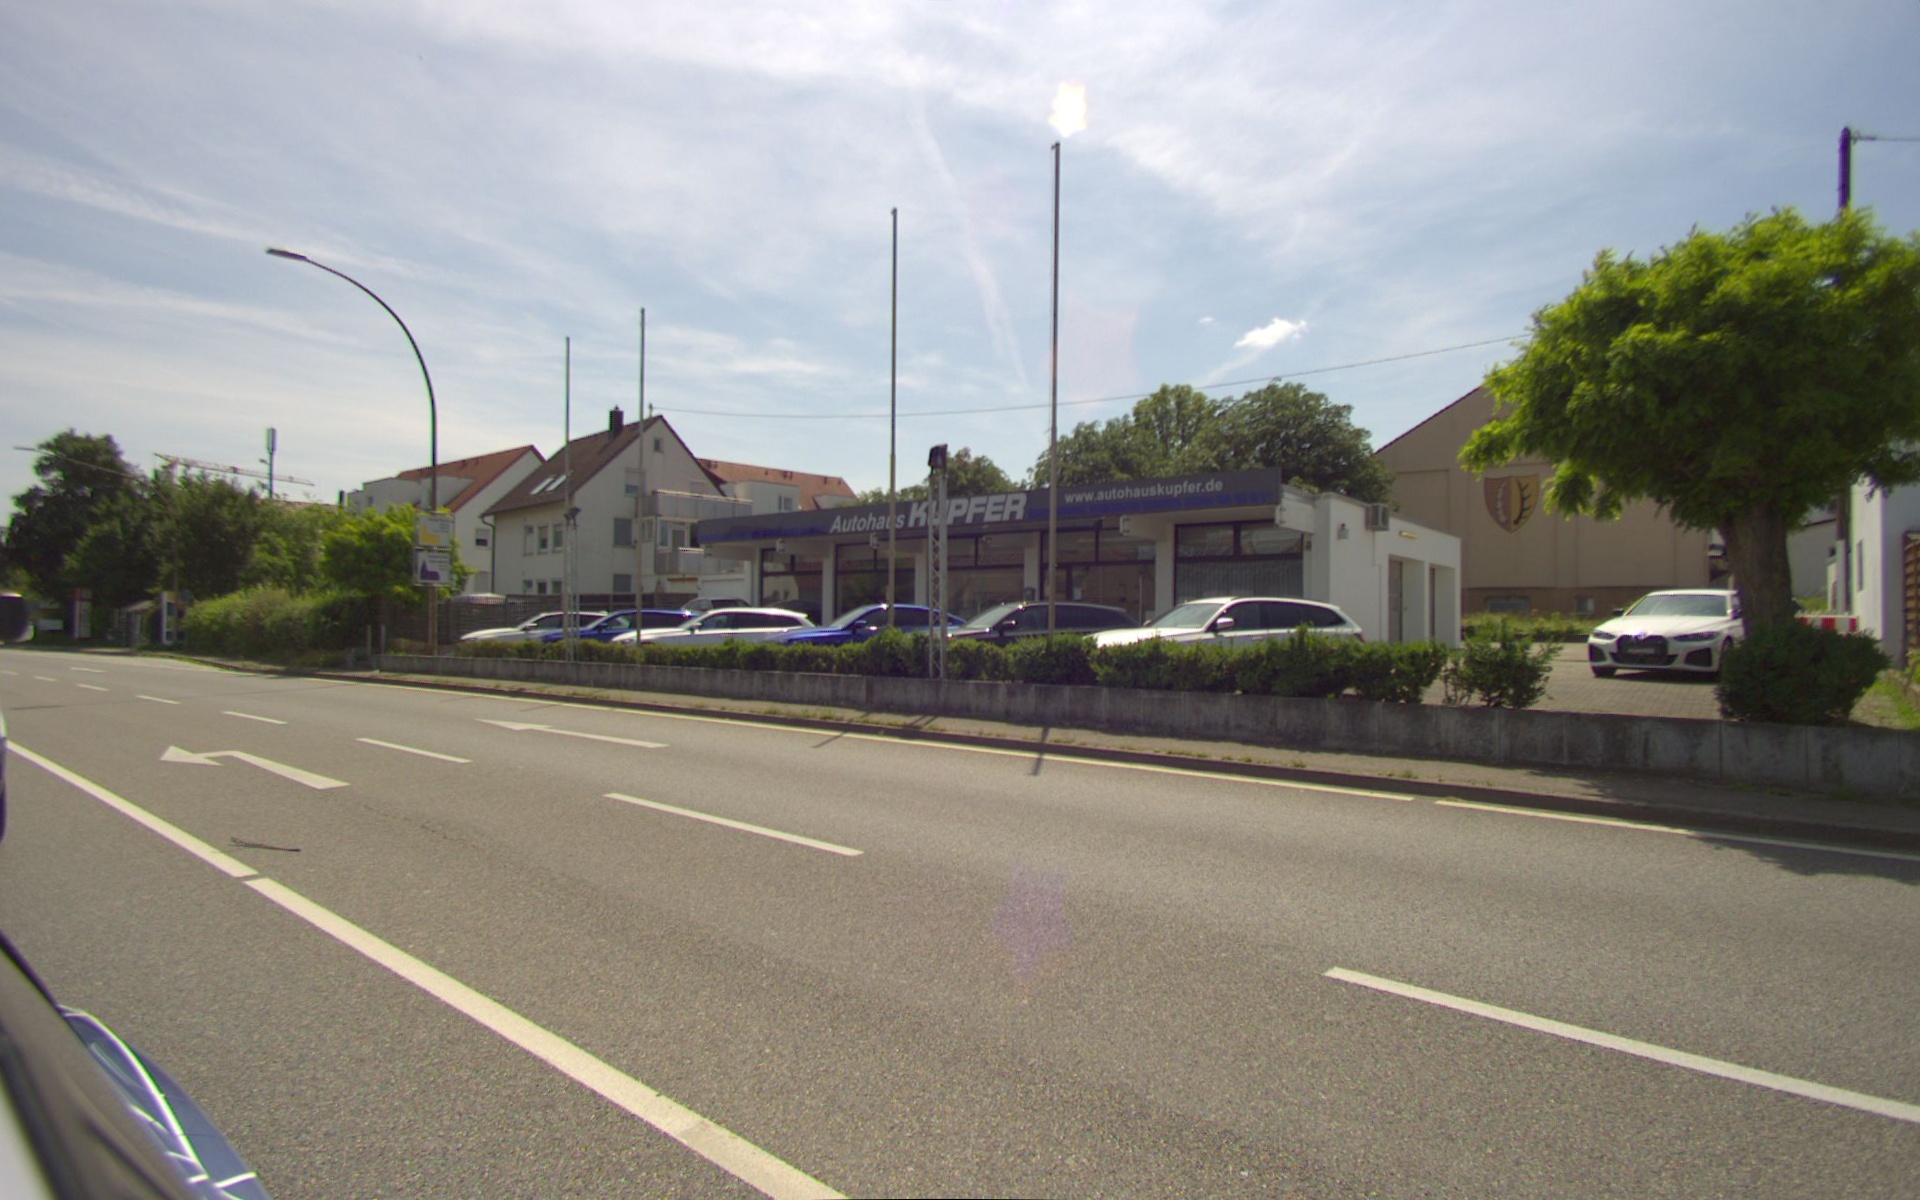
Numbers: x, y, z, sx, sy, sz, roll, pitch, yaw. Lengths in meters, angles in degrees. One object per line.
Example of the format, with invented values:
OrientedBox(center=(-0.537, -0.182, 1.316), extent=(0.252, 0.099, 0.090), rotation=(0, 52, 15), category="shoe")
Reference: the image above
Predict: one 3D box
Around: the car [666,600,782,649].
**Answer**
OrientedBox(center=(-7.733, 0.783, 32.860), extent=(1.782, 1.475, 4.589), rotation=(-1, 0, -40), category="car")

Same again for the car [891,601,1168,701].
OrientedBox(center=(1.180, 0.778, 17.138), extent=(4.267, 1.458, 1.905), rotation=(-1, 0, -25), category="car")

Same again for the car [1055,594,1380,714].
OrientedBox(center=(3.675, 0.670, 14.423), extent=(4.267, 1.458, 1.863), rotation=(-1, 0, -25), category="car")

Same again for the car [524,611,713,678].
OrientedBox(center=(-8.437, 1.040, 25.094), extent=(4.267, 1.458, 1.863), rotation=(-1, 0, -21), category="car")

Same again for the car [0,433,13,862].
OrientedBox(center=(-8.478, 0.331, 7.166), extent=(5.744, 2.548, 1.915), rotation=(-1, -1, 40), category="car")

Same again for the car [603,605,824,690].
OrientedBox(center=(-5.406, 0.976, 22.141), extent=(4.438, 1.458, 1.863), rotation=(-3, 1, -20), category="car")

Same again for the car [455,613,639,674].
OrientedBox(center=(-11.256, 1.148, 27.801), extent=(4.501, 1.458, 1.863), rotation=(-1, 0, -21), category="car")

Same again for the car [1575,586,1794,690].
OrientedBox(center=(12.127, 0.561, 16.878), extent=(3.935, 1.521, 1.839), rotation=(-1, -1, -37), category="car")

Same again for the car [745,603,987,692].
OrientedBox(center=(-1.821, 0.846, 19.635), extent=(4.267, 1.458, 1.863), rotation=(-2, 1, -24), category="car")
